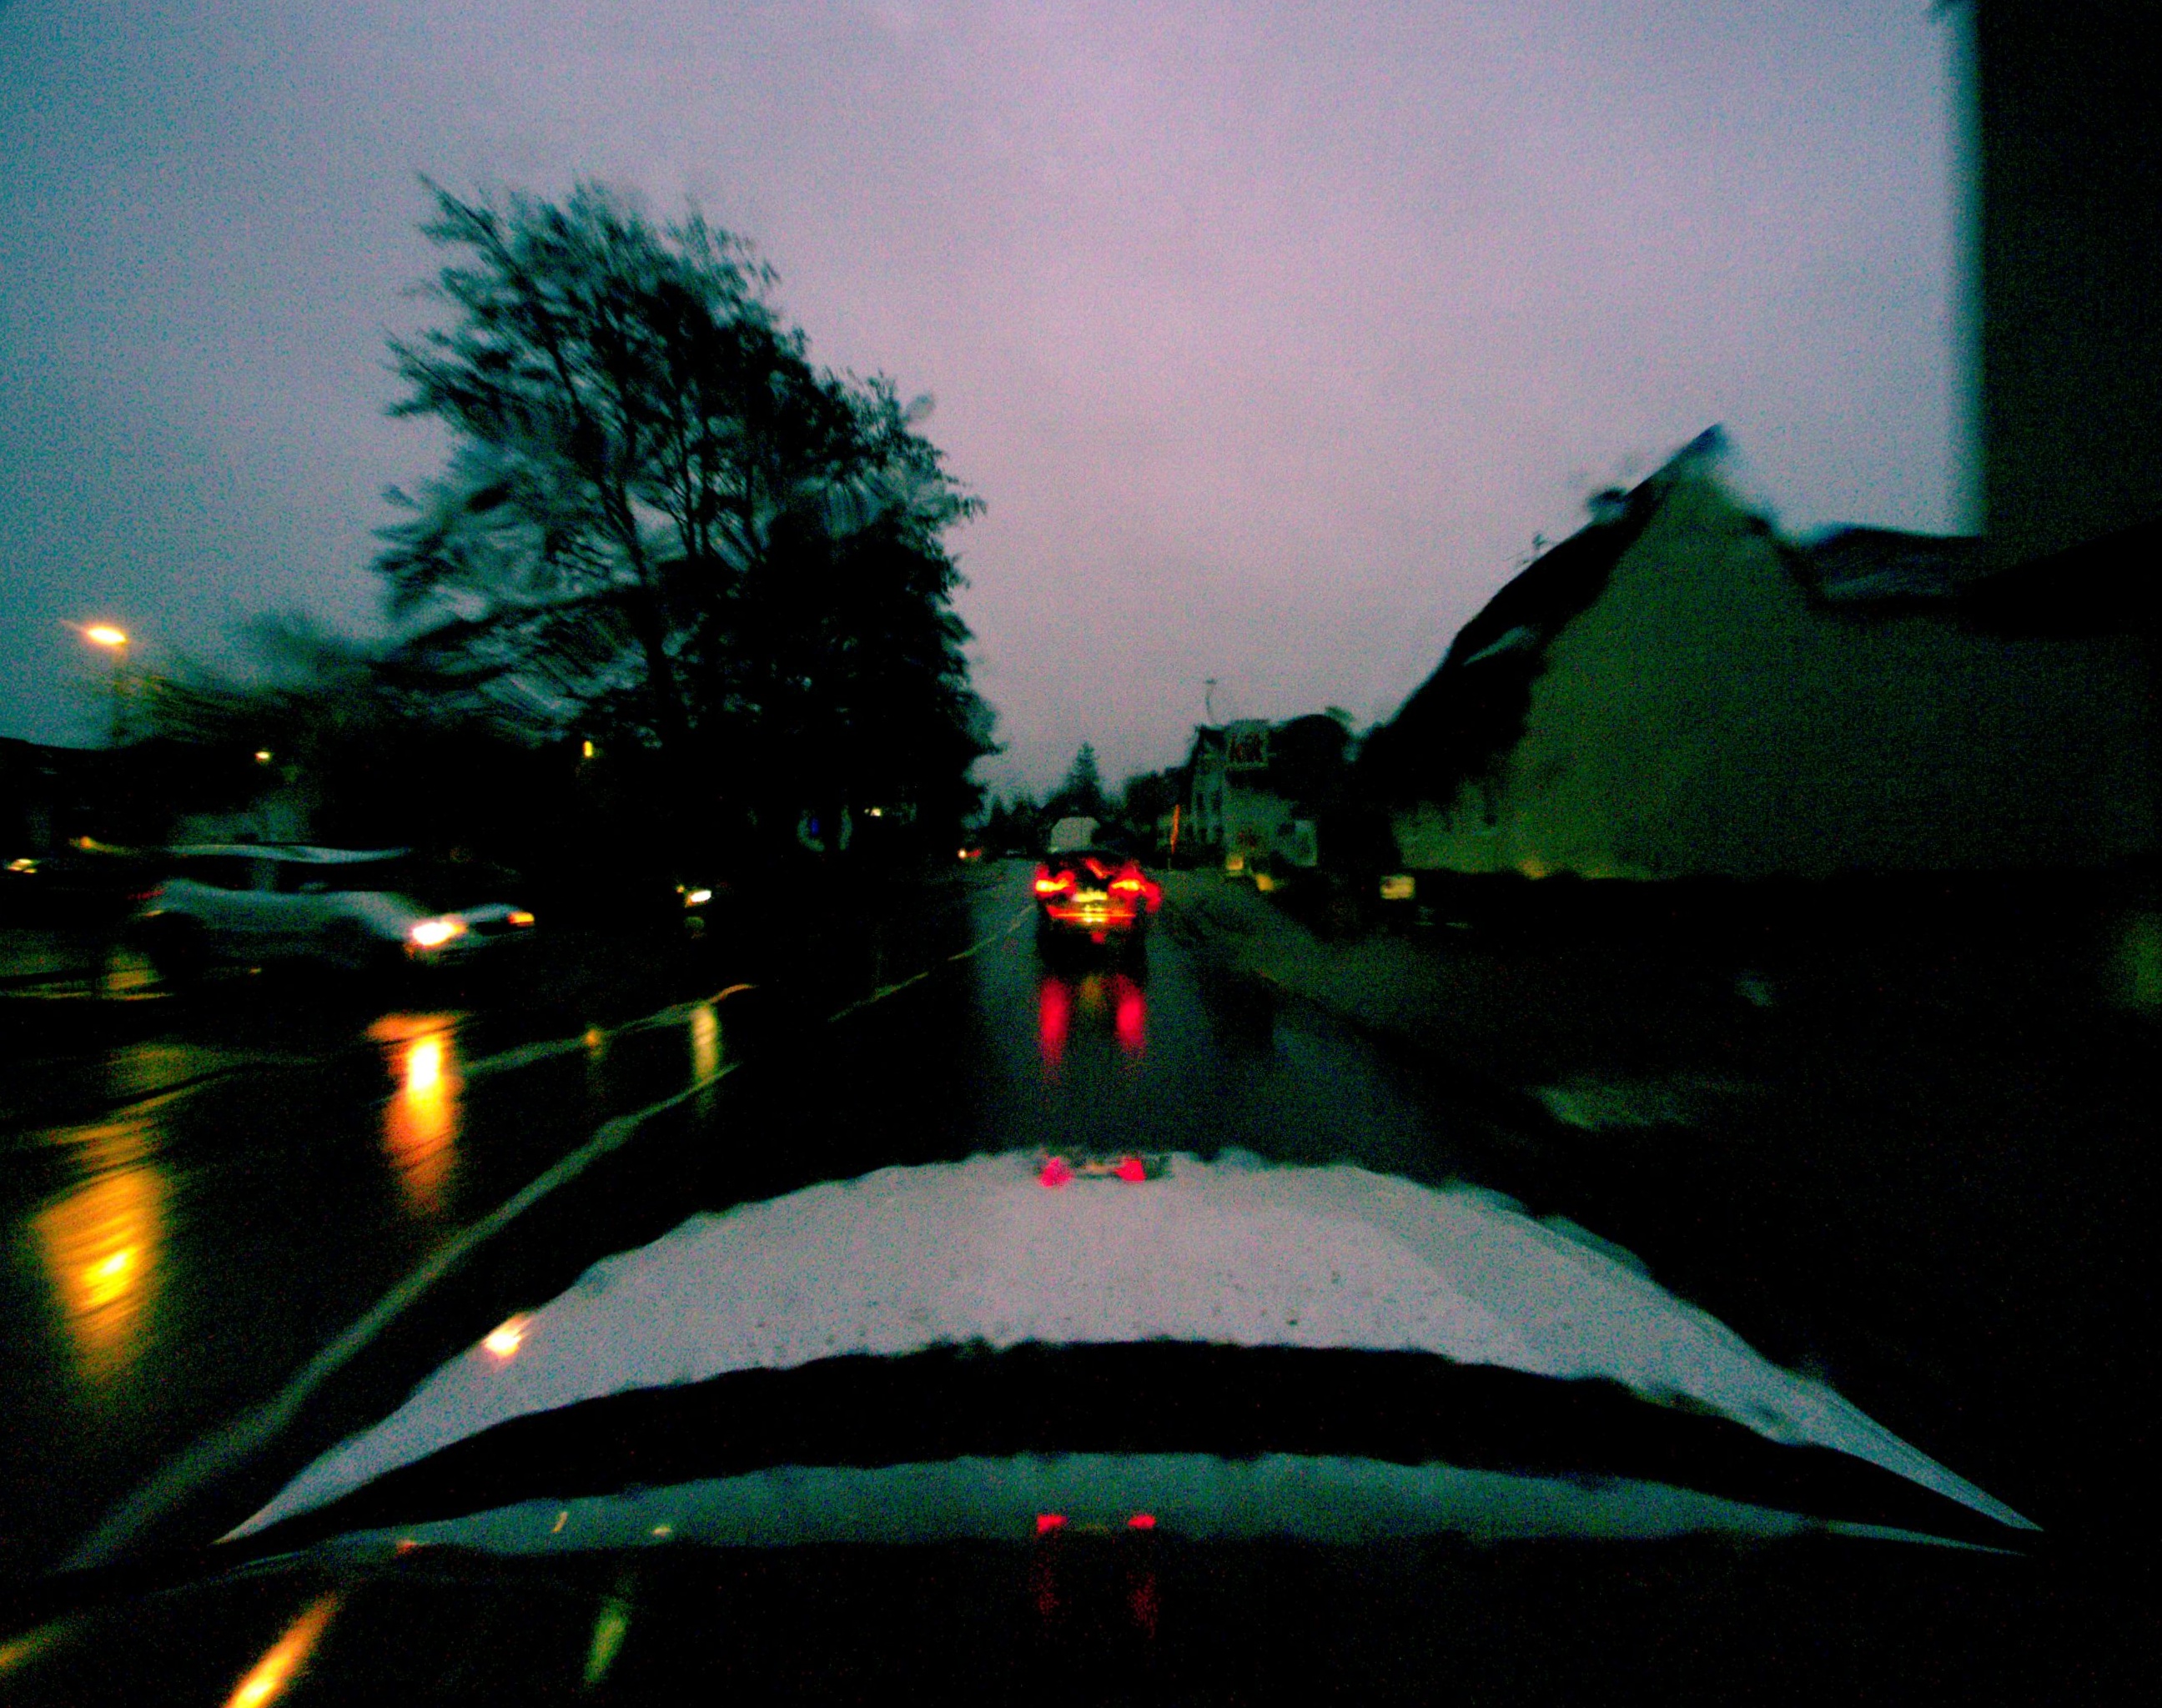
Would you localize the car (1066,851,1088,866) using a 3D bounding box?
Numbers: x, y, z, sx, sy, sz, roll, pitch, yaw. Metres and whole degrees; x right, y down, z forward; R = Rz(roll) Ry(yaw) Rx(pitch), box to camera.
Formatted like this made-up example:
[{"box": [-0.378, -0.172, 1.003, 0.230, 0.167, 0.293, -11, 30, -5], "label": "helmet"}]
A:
[{"box": [-0.458, 0.427, 81.648, 1.839, 1.331, 3.931, -2, 0, -5], "label": "car"}]

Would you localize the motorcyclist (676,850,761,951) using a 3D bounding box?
[{"box": [-5.512, 0.682, 12.446, 0.862, 1.485, 0.909, 0, 0, 1], "label": "motorcyclist"}]

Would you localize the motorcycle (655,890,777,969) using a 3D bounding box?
[{"box": [-5.517, 1.107, 12.488, 0.862, 1.024, 2.110, 0, 0, 2], "label": "motorcycle"}]

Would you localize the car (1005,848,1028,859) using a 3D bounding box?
[{"box": [-12.367, -0.134, 155.550, 4.248, 2.013, 1.804, -1, 0, -11], "label": "car"}]

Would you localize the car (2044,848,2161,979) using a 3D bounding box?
[{"box": [11.716, 0.526, 6.915, 1.878, 1.258, 4.149, -1, -1, -15], "label": "car"}]

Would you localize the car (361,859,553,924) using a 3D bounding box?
[{"box": [-20.884, 1.243, 27.448, 4.644, 1.976, 2.122, 1, 1, -9], "label": "car"}]

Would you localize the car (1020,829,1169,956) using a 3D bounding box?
[{"box": [0.292, 0.614, 15.240, 2.301, 1.938, 5.020, -1, 0, 2], "label": "car"}]

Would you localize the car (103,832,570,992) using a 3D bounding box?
[{"box": [-9.283, 0.667, 10.436, 4.209, 1.699, 1.901, 2, 0, 2], "label": "car"}]

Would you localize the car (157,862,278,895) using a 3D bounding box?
[{"box": [-36.800, 1.016, 34.816, 1.556, 1.130, 3.392, 2, 2, -1], "label": "car"}]

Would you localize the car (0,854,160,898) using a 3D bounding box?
[{"box": [-42.561, 0.874, 34.408, 2.041, 1.568, 4.660, 1, 2, -1], "label": "car"}]

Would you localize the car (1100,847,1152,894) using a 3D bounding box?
[{"box": [1.638, 0.552, 30.567, 1.851, 1.647, 4.002, 0, 1, 2], "label": "car"}]
